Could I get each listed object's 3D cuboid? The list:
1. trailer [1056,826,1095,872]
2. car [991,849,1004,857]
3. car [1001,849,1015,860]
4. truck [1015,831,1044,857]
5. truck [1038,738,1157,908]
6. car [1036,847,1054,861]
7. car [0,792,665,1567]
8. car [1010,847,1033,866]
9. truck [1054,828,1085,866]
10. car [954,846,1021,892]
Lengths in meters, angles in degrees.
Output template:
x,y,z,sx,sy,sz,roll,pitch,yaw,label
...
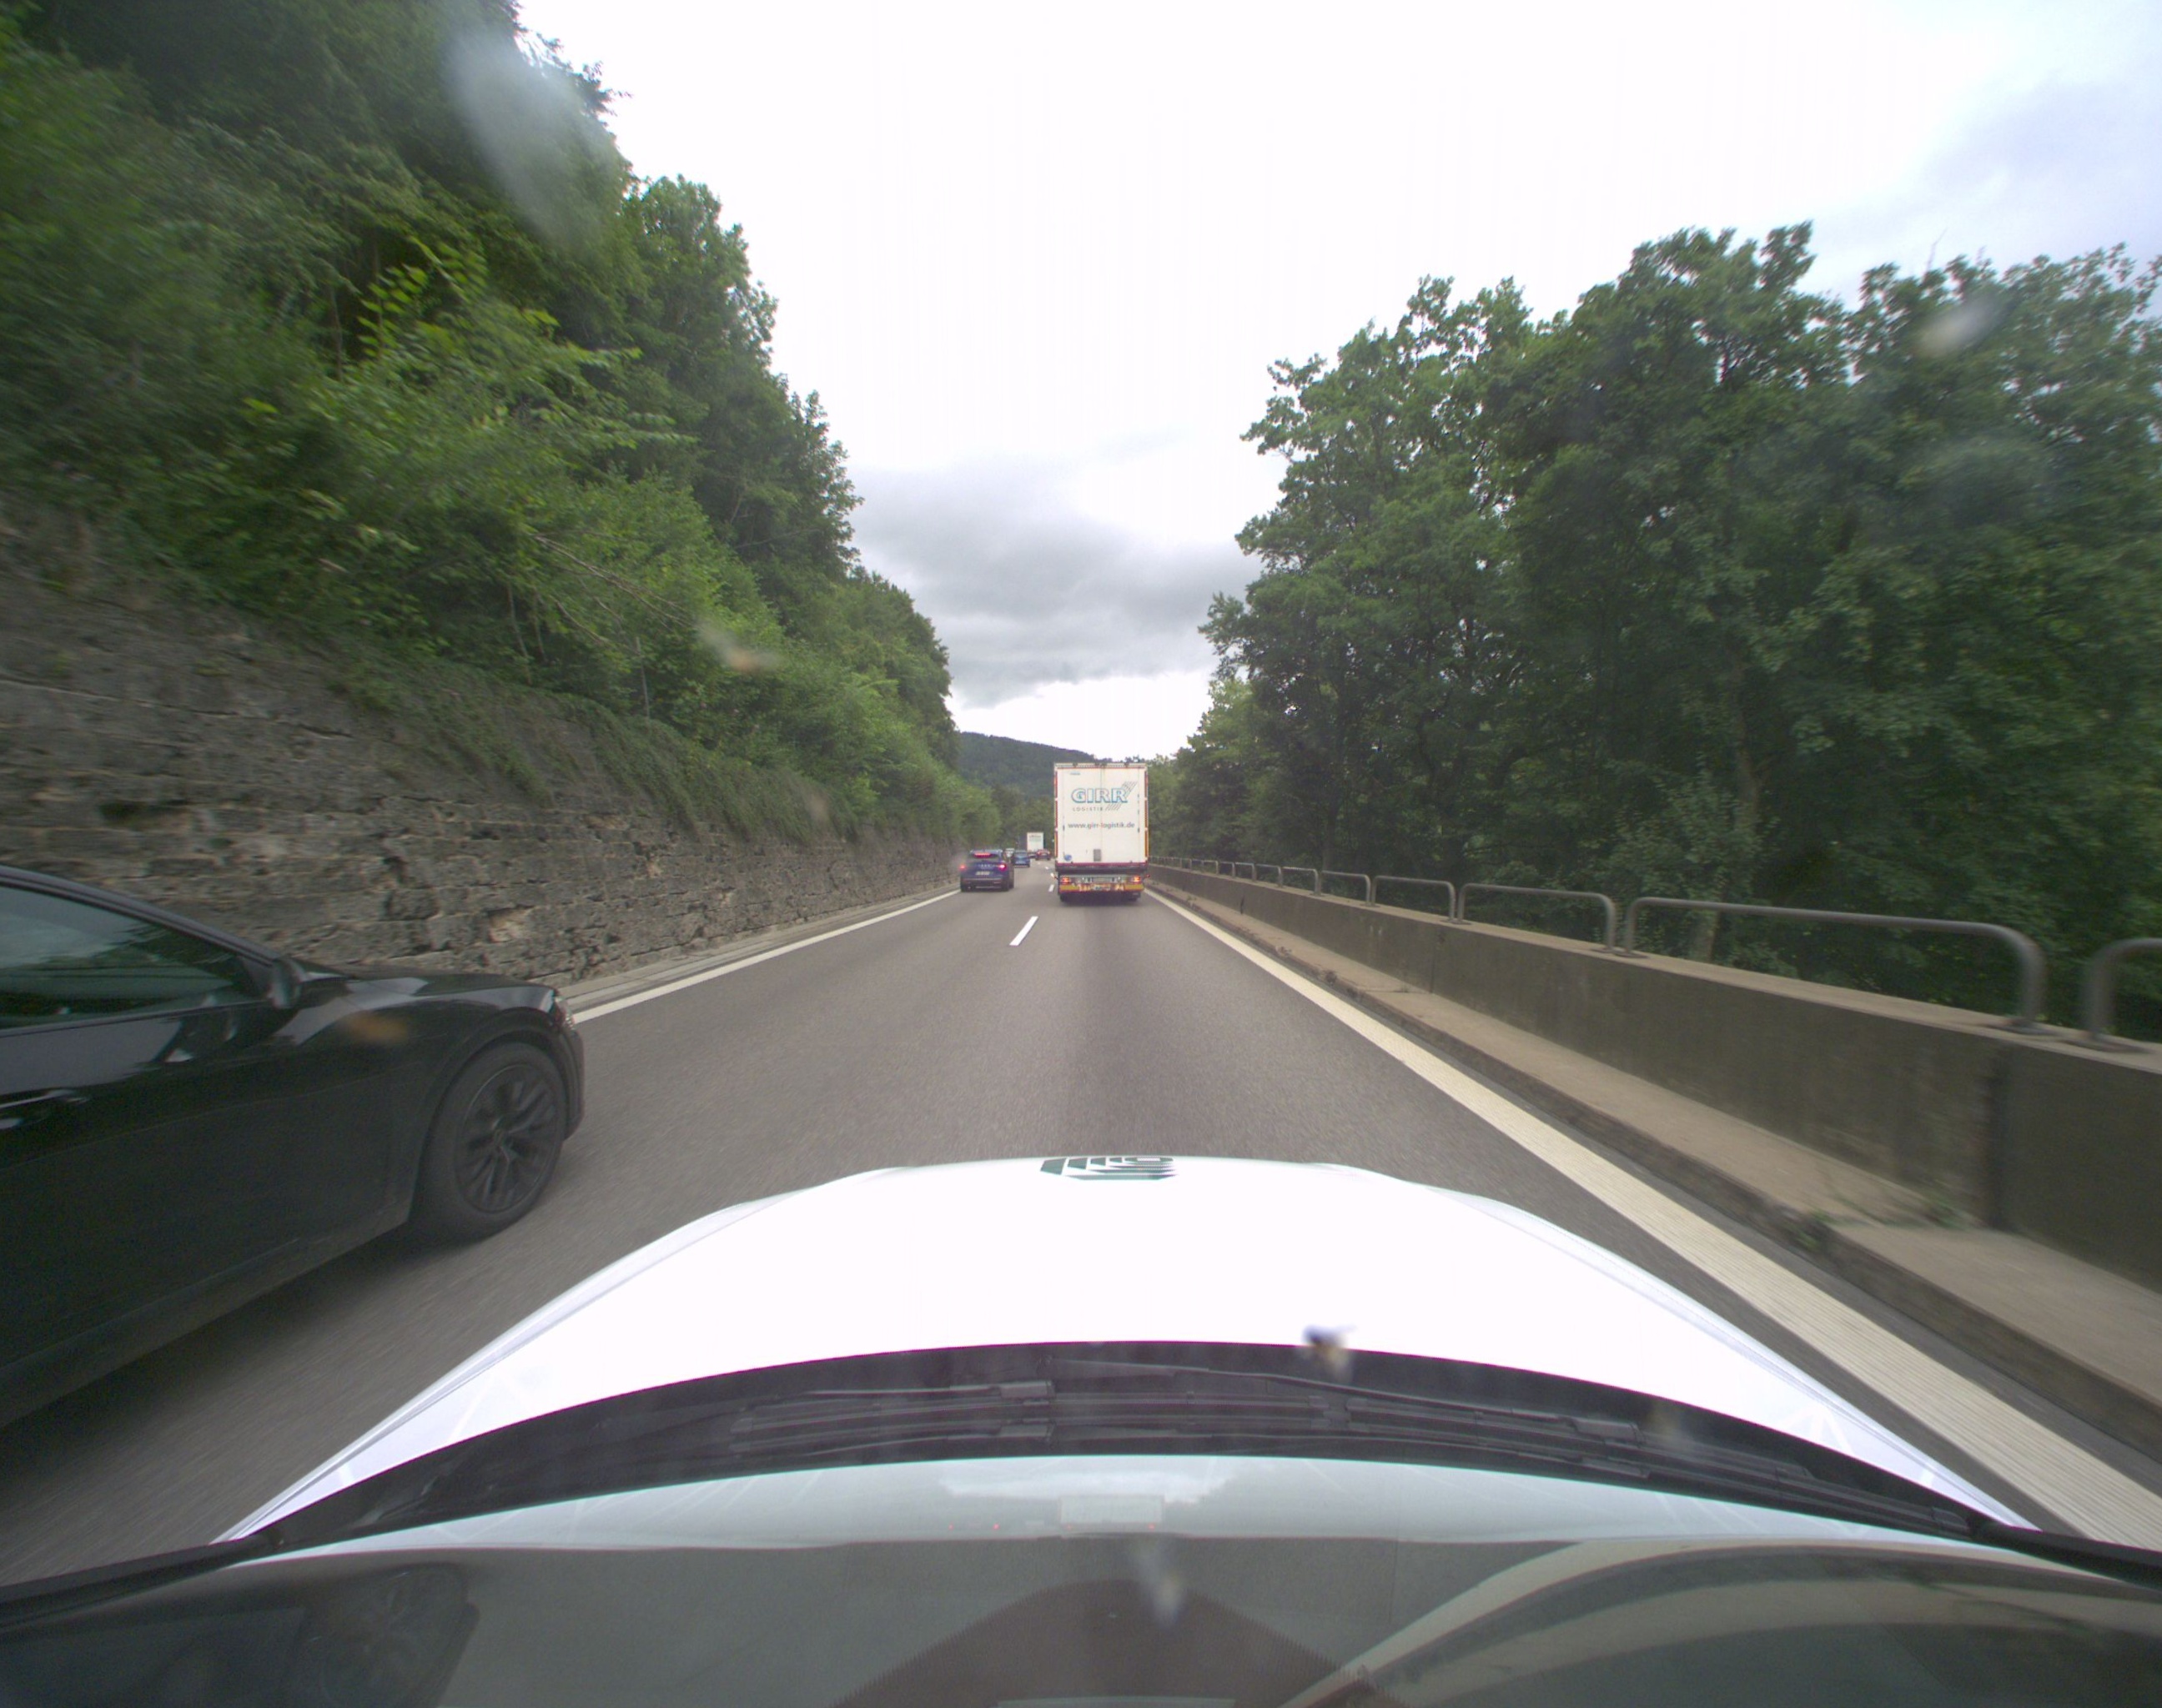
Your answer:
x,y,z,sx,sy,sz,roll,pitch,yaw,label
-0.539,-0.345,58.680,2.207,3.047,11.124,0,0,-4,trailer
-15.998,-0.215,155.833,1.898,1.550,4.232,0,0,-12,car
-10.393,0.018,115.398,1.895,1.550,4.239,0,0,-7,car
-8.166,-1.561,127.457,2.636,3.857,12.309,-1,0,-12,truck
0.491,-0.879,29.244,3.074,4.464,15.155,-1,0,0,truck
-4.755,-0.012,106.068,2.058,1.654,3.992,-1,0,-6,car
-3.288,0.714,1.836,1.986,1.632,5.009,-2,0,1,car
-5.291,0.218,72.880,1.990,1.596,4.347,0,0,-4,car
-0.954,-0.530,64.724,2.205,2.851,4.996,0,0,-5,truck
-3.661,0.571,32.707,1.986,1.632,5.009,-1,0,1,car
